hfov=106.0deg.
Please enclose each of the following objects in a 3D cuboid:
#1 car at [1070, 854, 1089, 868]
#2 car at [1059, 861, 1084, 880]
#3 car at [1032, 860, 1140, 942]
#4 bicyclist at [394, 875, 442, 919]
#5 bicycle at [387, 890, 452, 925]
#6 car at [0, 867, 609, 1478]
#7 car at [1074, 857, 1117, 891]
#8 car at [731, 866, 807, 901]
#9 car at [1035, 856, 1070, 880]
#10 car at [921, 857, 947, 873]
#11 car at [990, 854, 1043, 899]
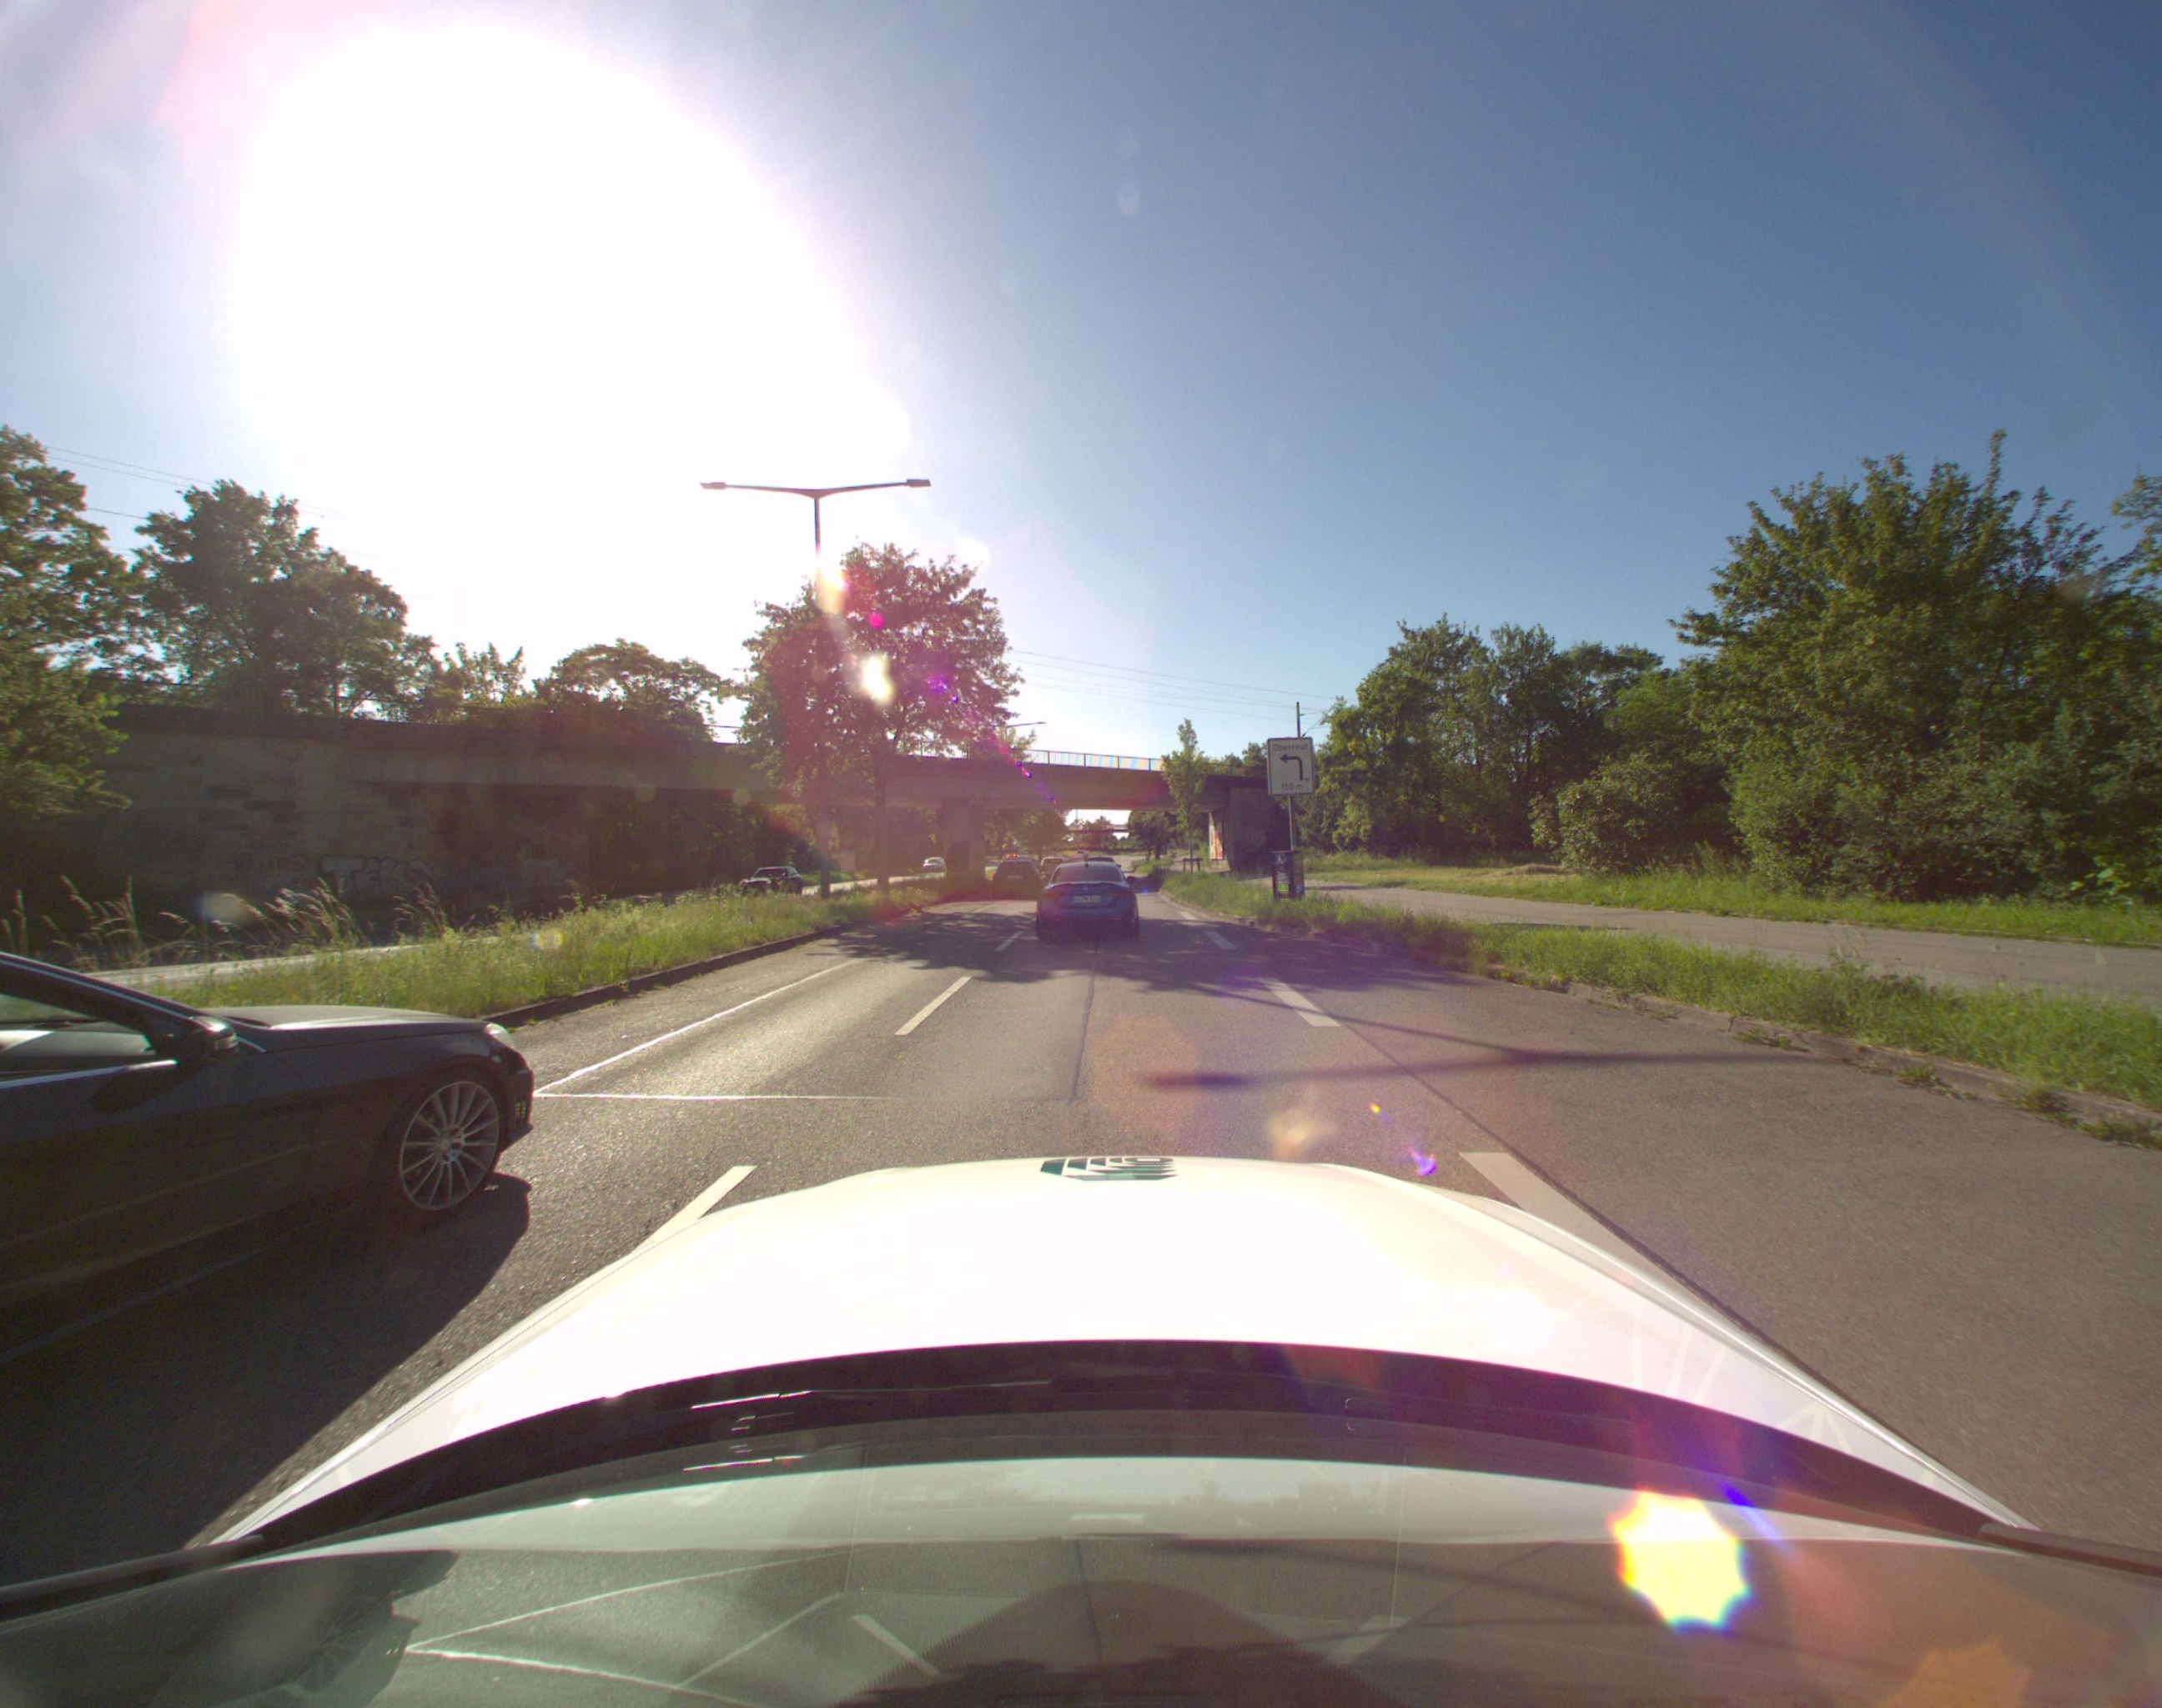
[{"bbox_3d":[-0.110,0.710,85.757,1.772,1.454,4.184,-2,0,2],"label":"car"},{"bbox_3d":[-0.772,1.360,68.176,1.876,1.454,4.528,0,0,2],"label":"car"},{"bbox_3d":[0.162,0.835,16.288,1.876,1.406,4.226,0,0,2],"label":"car"},{"bbox_3d":[-21.576,1.388,26.519,0.677,1.402,1.027,0,-1,2],"label":"bicyclist"},{"bbox_3d":[-21.565,1.726,26.580,0.681,1.030,1.715,0,0,2],"label":"bicycle"},{"bbox_3d":[-3.673,0.827,1.999,1.951,1.483,4.922,-1,0,3],"label":"car"},{"bbox_3d":[0.703,0.867,37.452,1.876,1.454,4.528,0,0,2],"label":"car"},{"bbox_3d":[-14.436,1.347,37.903,1.809,1.442,4.091,-2,0,2],"label":"car"},{"bbox_3d":[-1.732,0.848,50.776,1.876,1.454,4.528,0,0,2],"label":"car"},{"bbox_3d":[-15.685,1.186,87.128,1.722,1.617,4.182,-3,0,2],"label":"car"},{"bbox_3d":[-2.416,0.822,31.335,1.703,1.598,4.222,0,0,-1],"label":"car"}]
